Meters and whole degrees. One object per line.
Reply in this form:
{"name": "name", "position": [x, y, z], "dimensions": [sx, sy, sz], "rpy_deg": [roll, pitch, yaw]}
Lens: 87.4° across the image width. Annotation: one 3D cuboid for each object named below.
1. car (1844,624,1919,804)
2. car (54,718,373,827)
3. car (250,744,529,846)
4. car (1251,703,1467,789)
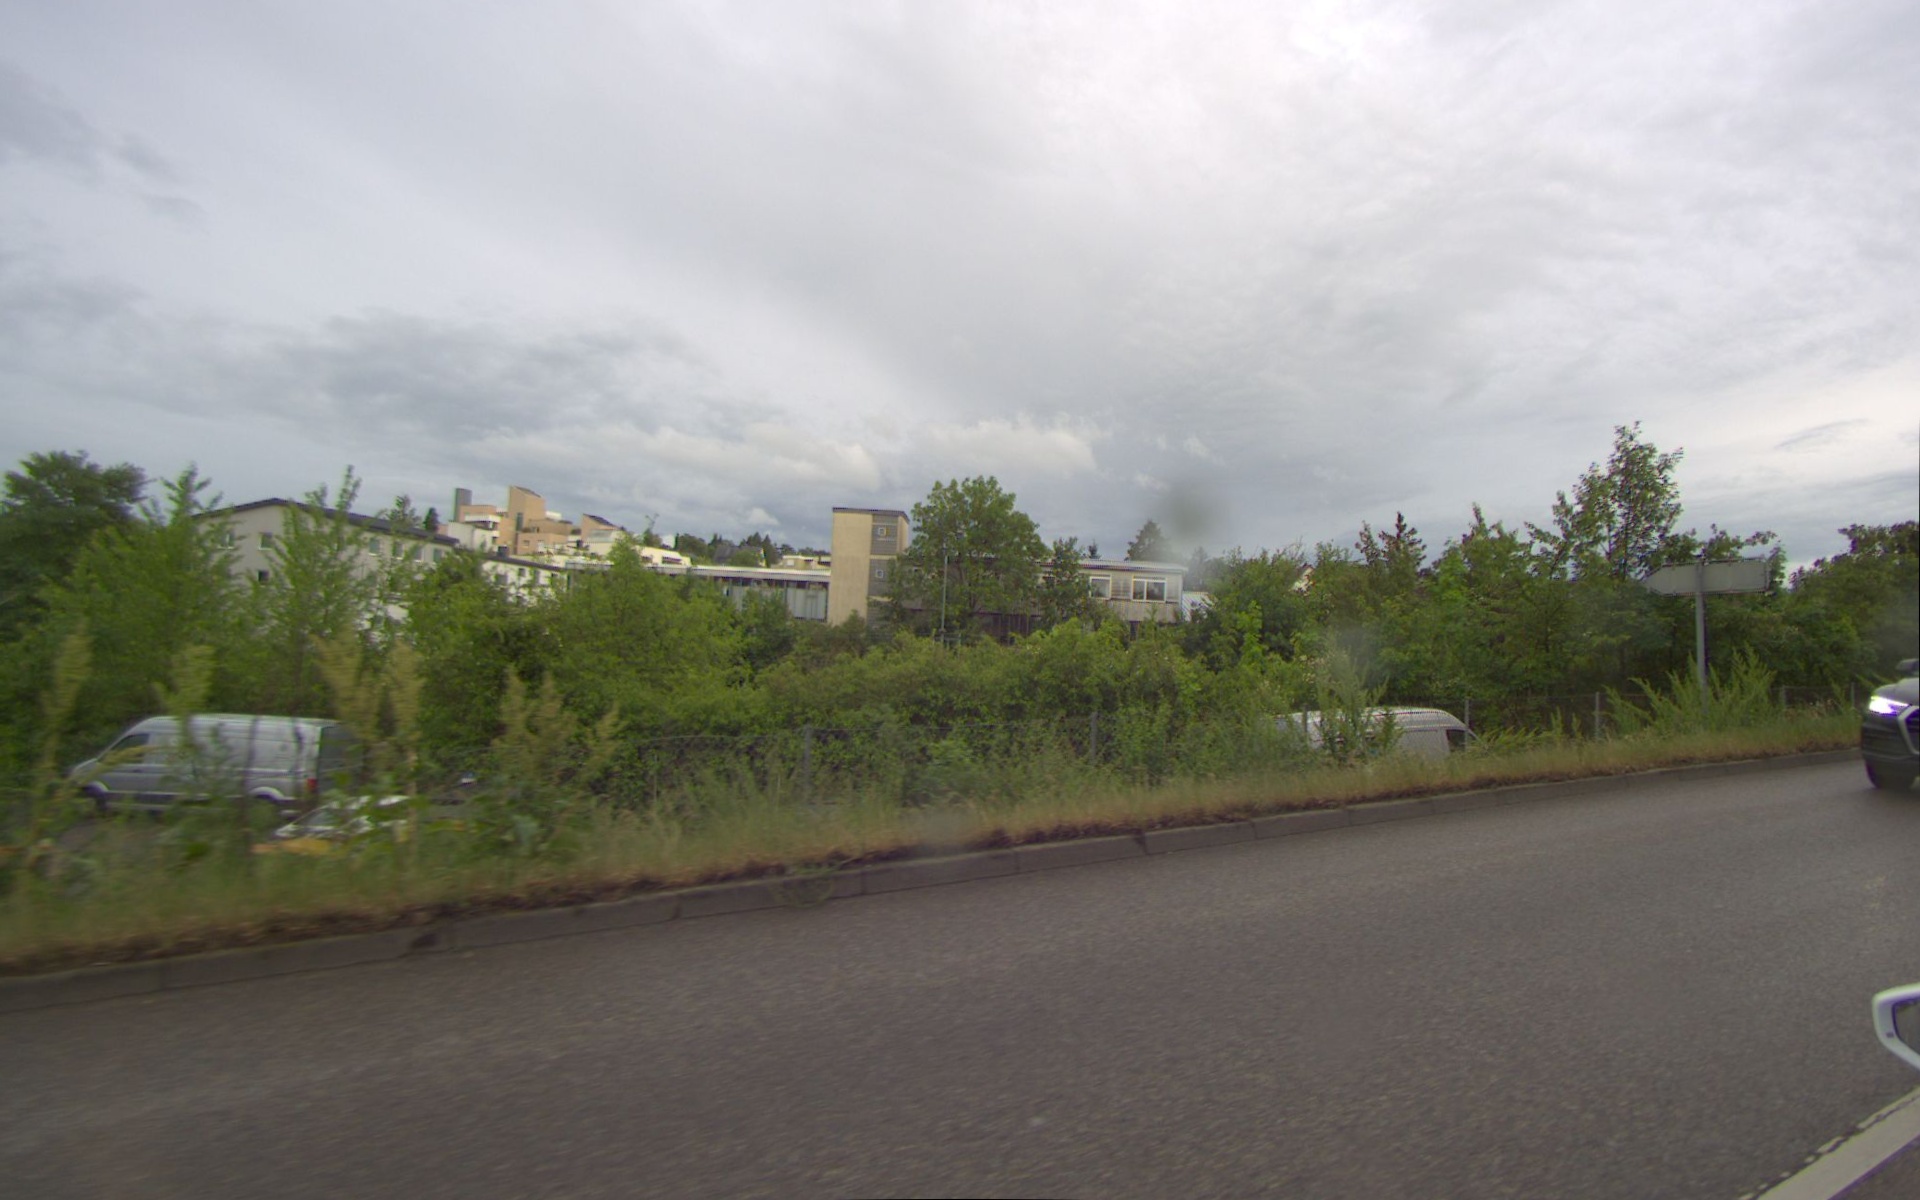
{"name": "car", "position": [10.635, 1.059, 9.772], "dimensions": [4.364, 1.606, 1.859], "rpy_deg": [2, -2, -32]}
{"name": "car", "position": [-18.578, 4.280, 25.211], "dimensions": [6.464, 2.492, 1.987], "rpy_deg": [-1, -5, 2]}
{"name": "car", "position": [-11.391, 3.892, 20.299], "dimensions": [4.549, 1.714, 1.869], "rpy_deg": [-2, -6, 1]}
{"name": "car", "position": [8.221, 2.958, 20.767], "dimensions": [4.001, 1.543, 1.652], "rpy_deg": [1, -3, -17]}
